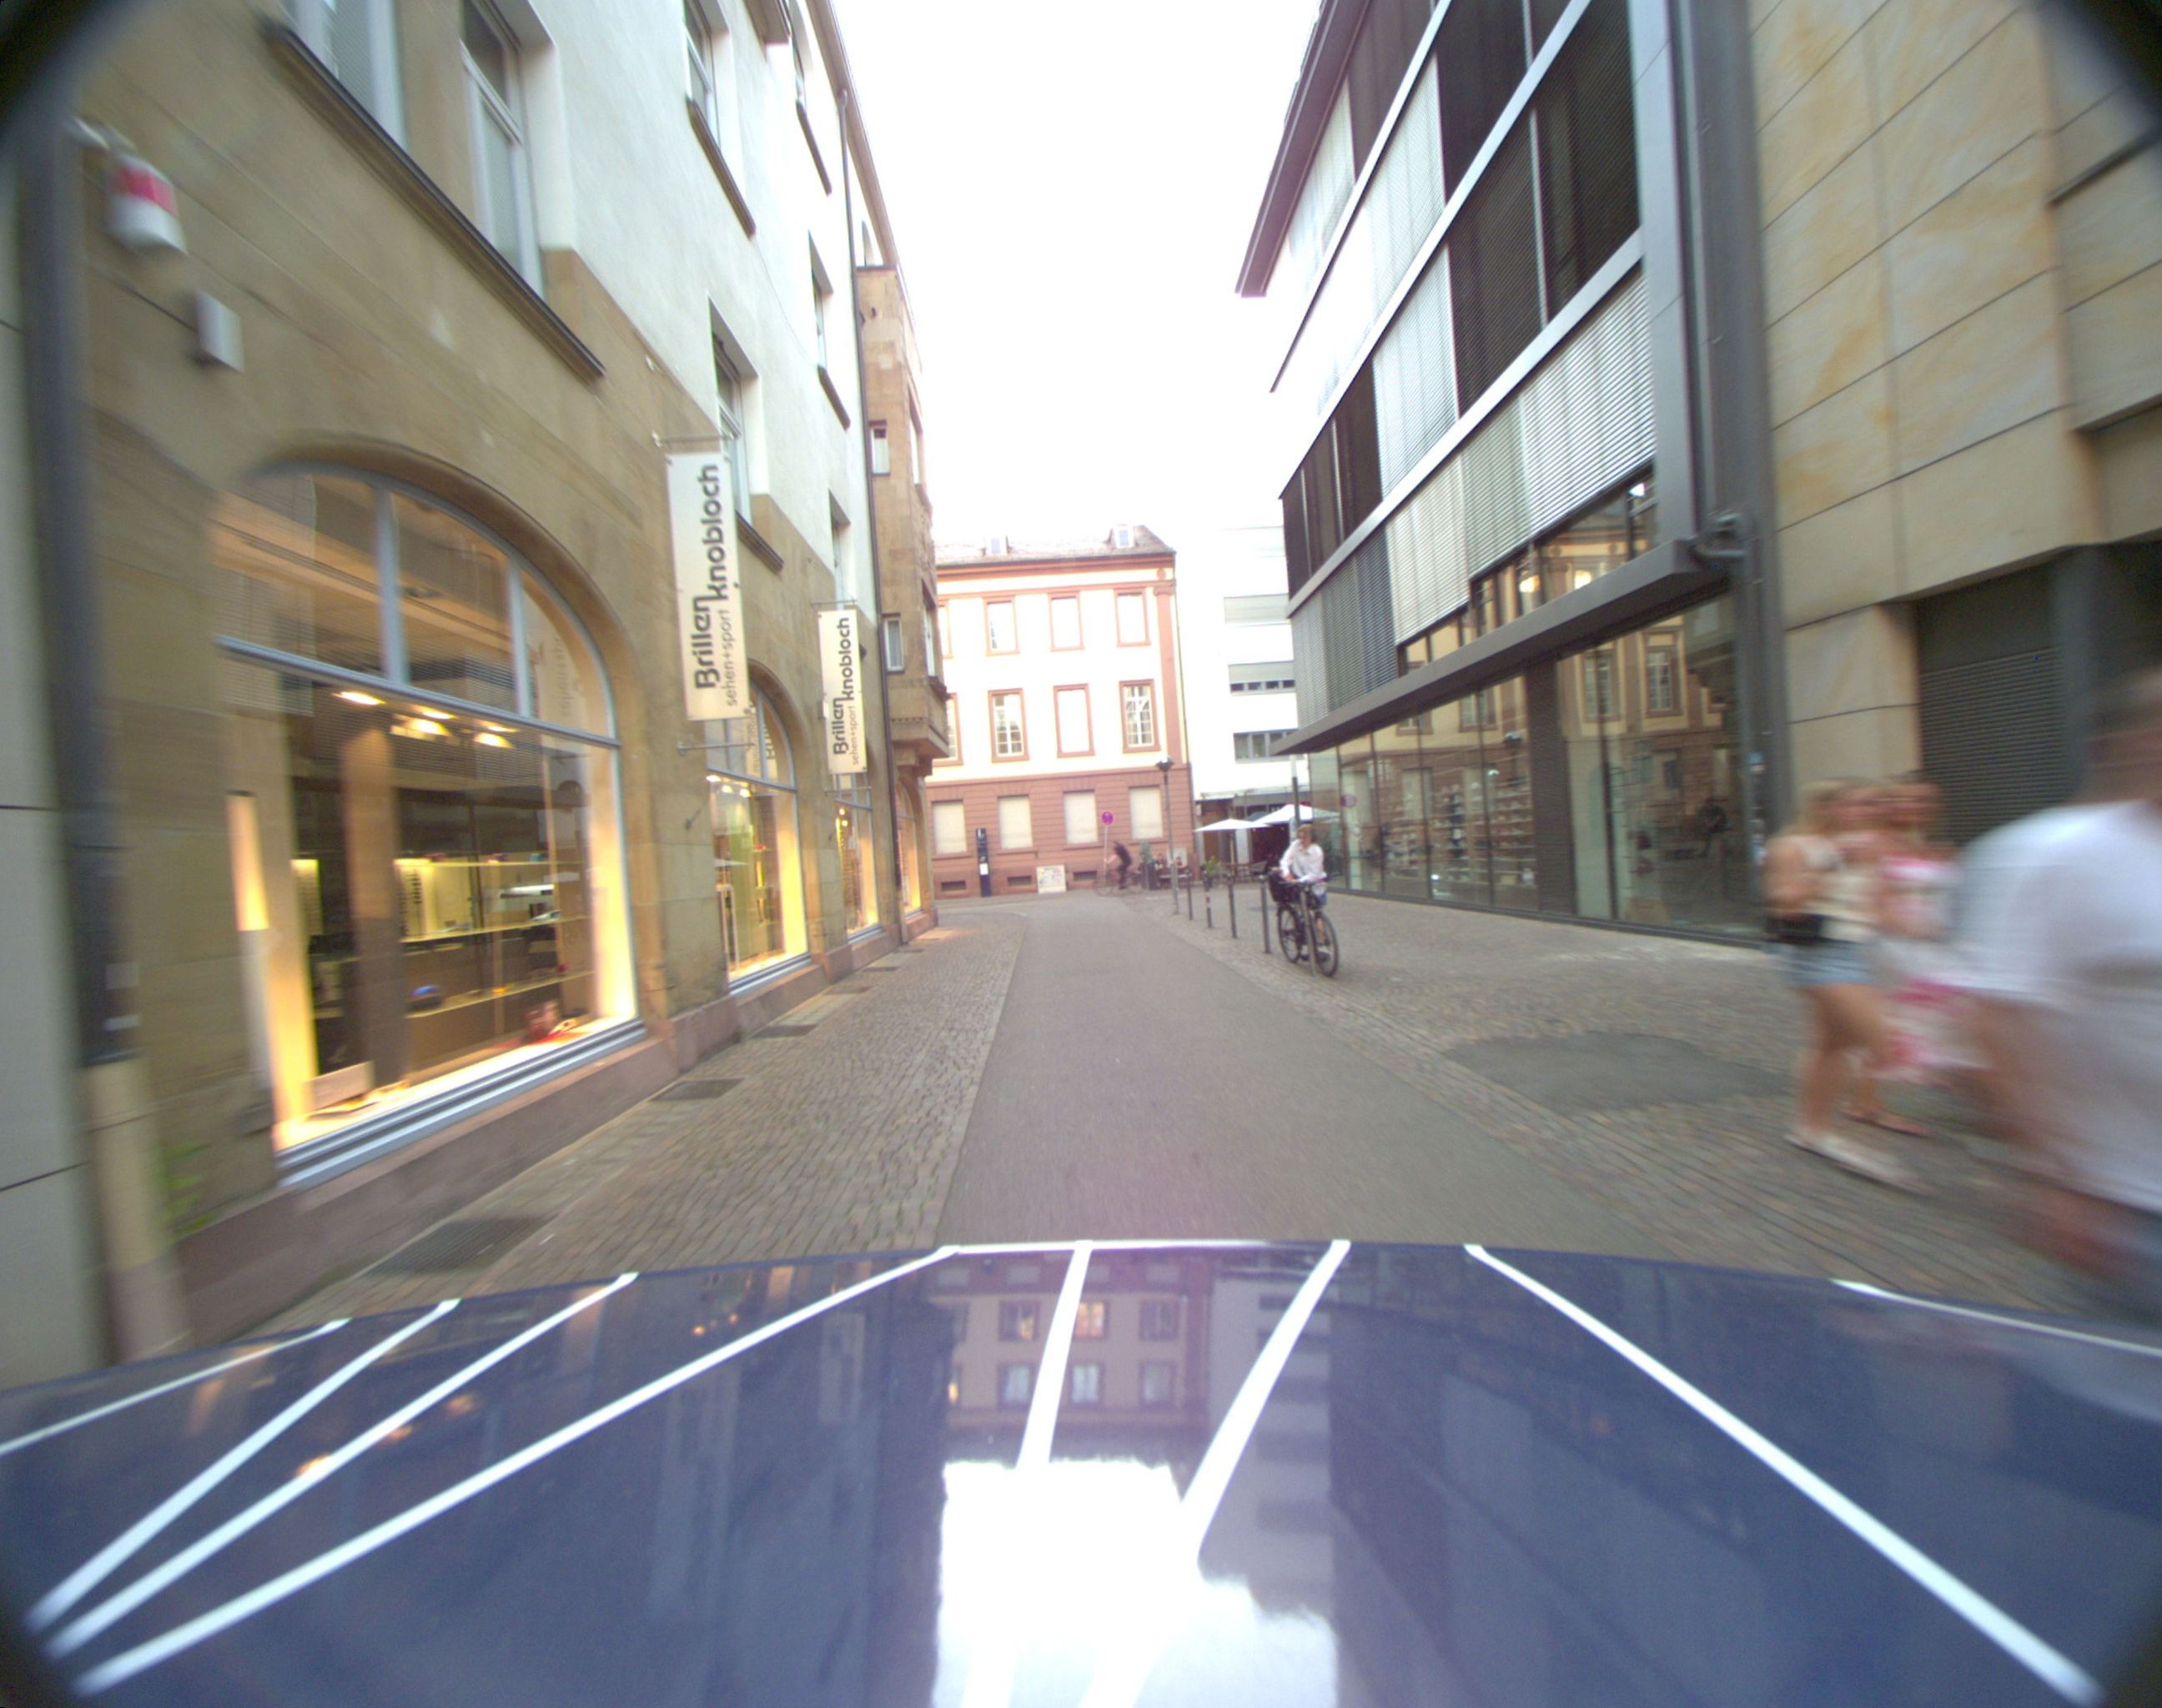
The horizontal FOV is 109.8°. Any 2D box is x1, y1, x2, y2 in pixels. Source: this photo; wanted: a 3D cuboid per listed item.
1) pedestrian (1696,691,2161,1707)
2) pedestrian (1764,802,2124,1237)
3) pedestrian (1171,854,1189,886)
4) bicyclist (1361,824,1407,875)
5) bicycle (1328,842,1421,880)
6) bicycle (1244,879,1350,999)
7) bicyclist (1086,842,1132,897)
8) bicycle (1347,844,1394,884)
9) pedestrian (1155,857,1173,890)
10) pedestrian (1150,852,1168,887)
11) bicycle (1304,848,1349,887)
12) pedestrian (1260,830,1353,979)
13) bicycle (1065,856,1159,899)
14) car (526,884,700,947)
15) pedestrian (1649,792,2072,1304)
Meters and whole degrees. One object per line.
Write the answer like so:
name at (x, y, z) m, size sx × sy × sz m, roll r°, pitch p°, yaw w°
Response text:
pedestrian at (1.880, 0.658, 1.363) m, size 0.744 × 1.812 × 0.878 m, roll -4°, pitch 1°, yaw -3°
pedestrian at (3.863, 0.643, 3.450) m, size 0.677 × 1.655 × 0.859 m, roll -4°, pitch 1°, yaw -24°
pedestrian at (3.844, 0.616, 29.613) m, size 0.549 × 1.204 × 0.524 m, roll -4°, pitch 1°, yaw 0°
bicyclist at (10.794, -0.169, 27.140) m, size 1.283 × 1.718 × 0.895 m, roll -4°, pitch 1°, yaw 11°
bicycle at (10.466, 0.234, 27.210) m, size 2.950 × 1.162 × 0.895 m, roll -4°, pitch 1°, yaw 11°
bicycle at (2.467, 0.923, 8.908) m, size 0.534 × 1.147 × 1.914 m, roll -6°, pitch 0°, yaw -2°
bicyclist at (0.968, 0.531, 26.625) m, size 1.469 × 1.807 × 0.923 m, roll -4°, pitch 0°, yaw 0°
bicycle at (9.041, 0.325, 23.788) m, size 0.609 × 1.143 × 1.841 m, roll -4°, pitch -1°, yaw -3°
pedestrian at (3.093, 0.728, 28.325) m, size 0.562 × 1.204 × 0.461 m, roll -4°, pitch 1°, yaw 0°
pedestrian at (3.054, 0.601, 29.837) m, size 0.549 × 1.341 × 0.489 m, roll -4°, pitch 1°, yaw 0°
bicycle at (7.526, 0.413, 23.373) m, size 0.709 × 1.106 × 1.674 m, roll -4°, pitch -1°, yaw -3°
pedestrian at (2.784, 0.600, 9.389) m, size 0.771 × 1.708 × 0.590 m, roll -6°, pitch 1°, yaw -33°
bicycle at (1.065, 0.812, 26.635) m, size 3.155 × 1.252 × 0.923 m, roll -4°, pitch 0°, yaw -1°
car at (-13.712, 1.778, 22.416) m, size 3.997 × 1.434 × 1.650 m, roll -4°, pitch 1°, yaw 0°
pedestrian at (3.185, 0.661, 3.174) m, size 0.810 × 1.719 × 0.947 m, roll -4°, pitch 1°, yaw -23°
